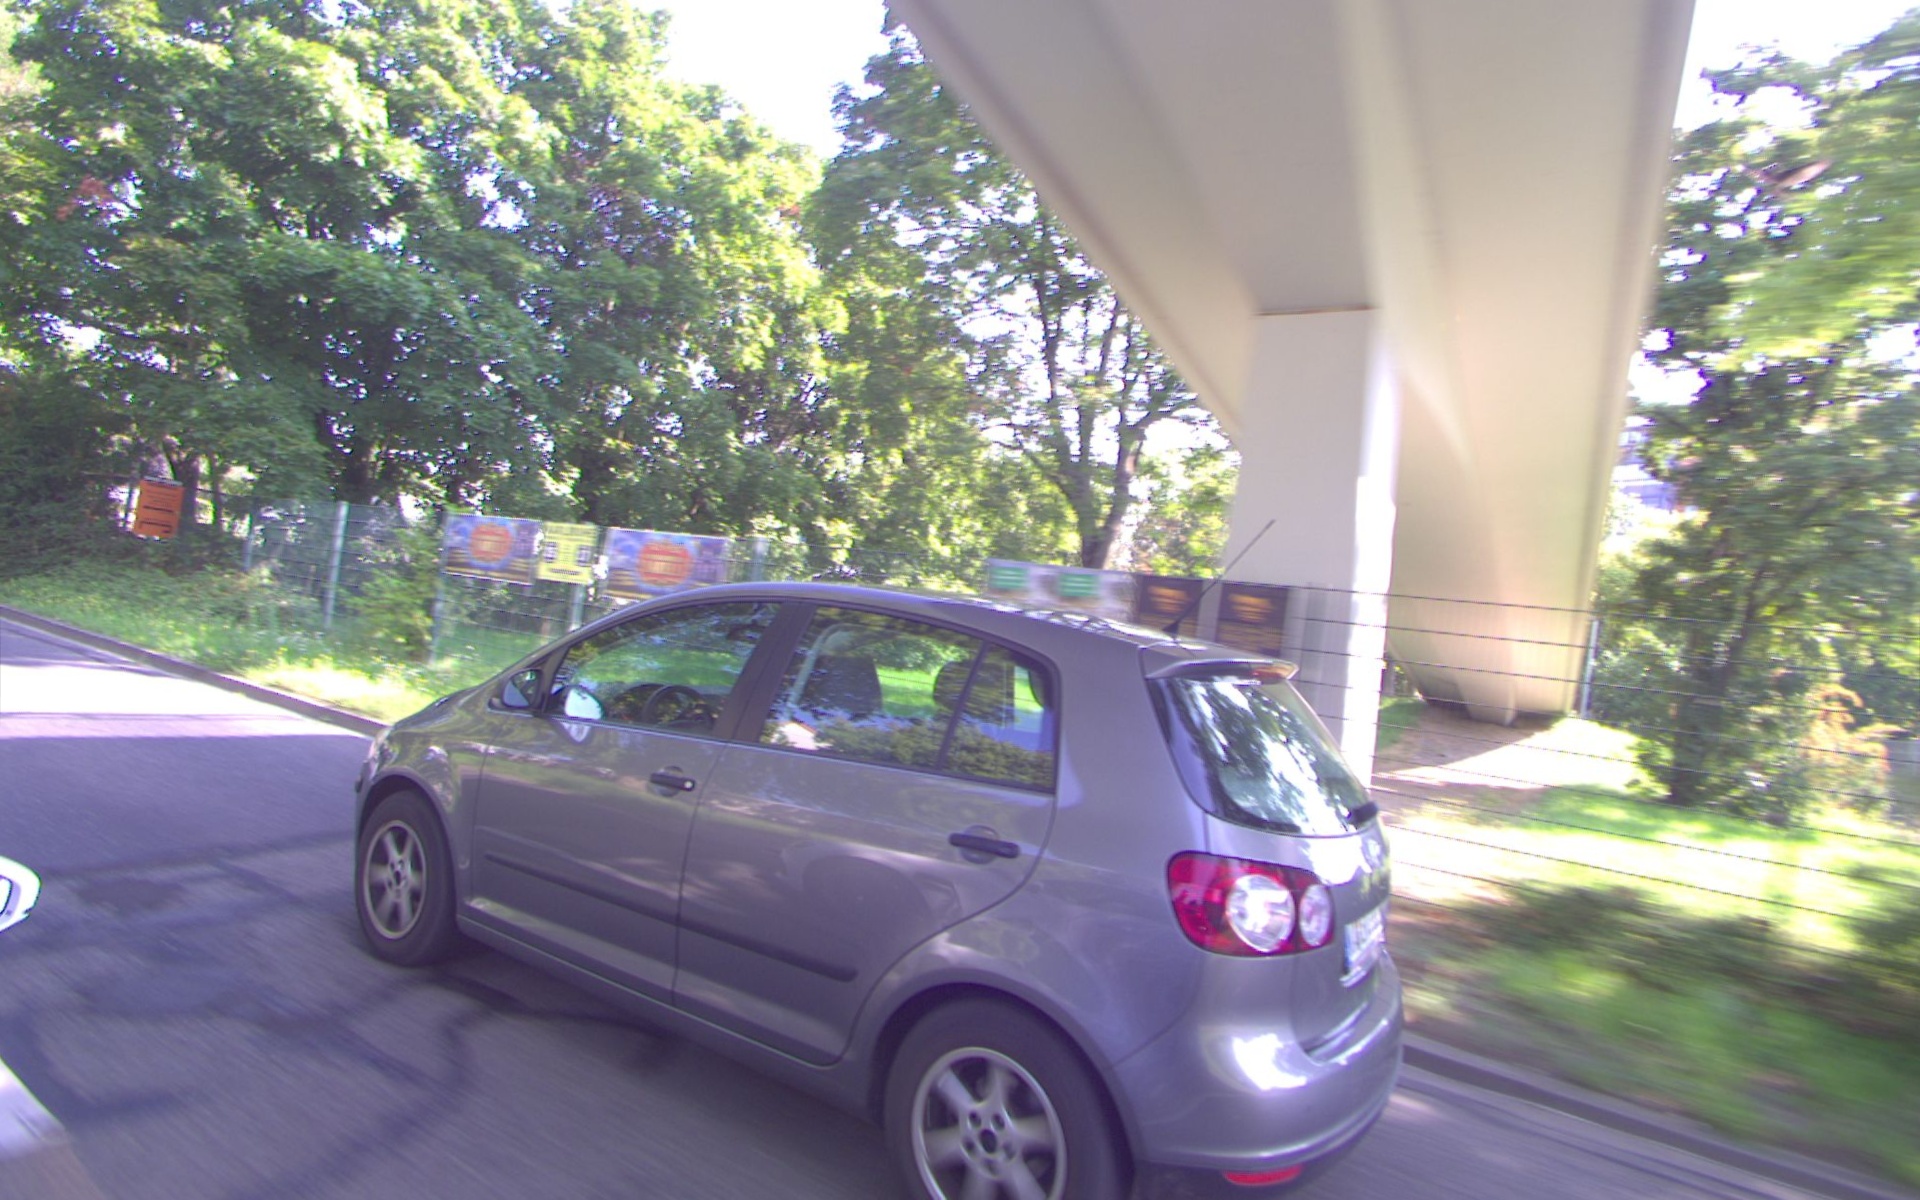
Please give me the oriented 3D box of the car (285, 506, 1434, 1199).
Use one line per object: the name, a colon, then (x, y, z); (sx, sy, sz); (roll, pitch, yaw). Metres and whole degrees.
car: (-0.549, 0.666, 3.676); (3.835, 1.573, 1.649); (6, -3, 33)
